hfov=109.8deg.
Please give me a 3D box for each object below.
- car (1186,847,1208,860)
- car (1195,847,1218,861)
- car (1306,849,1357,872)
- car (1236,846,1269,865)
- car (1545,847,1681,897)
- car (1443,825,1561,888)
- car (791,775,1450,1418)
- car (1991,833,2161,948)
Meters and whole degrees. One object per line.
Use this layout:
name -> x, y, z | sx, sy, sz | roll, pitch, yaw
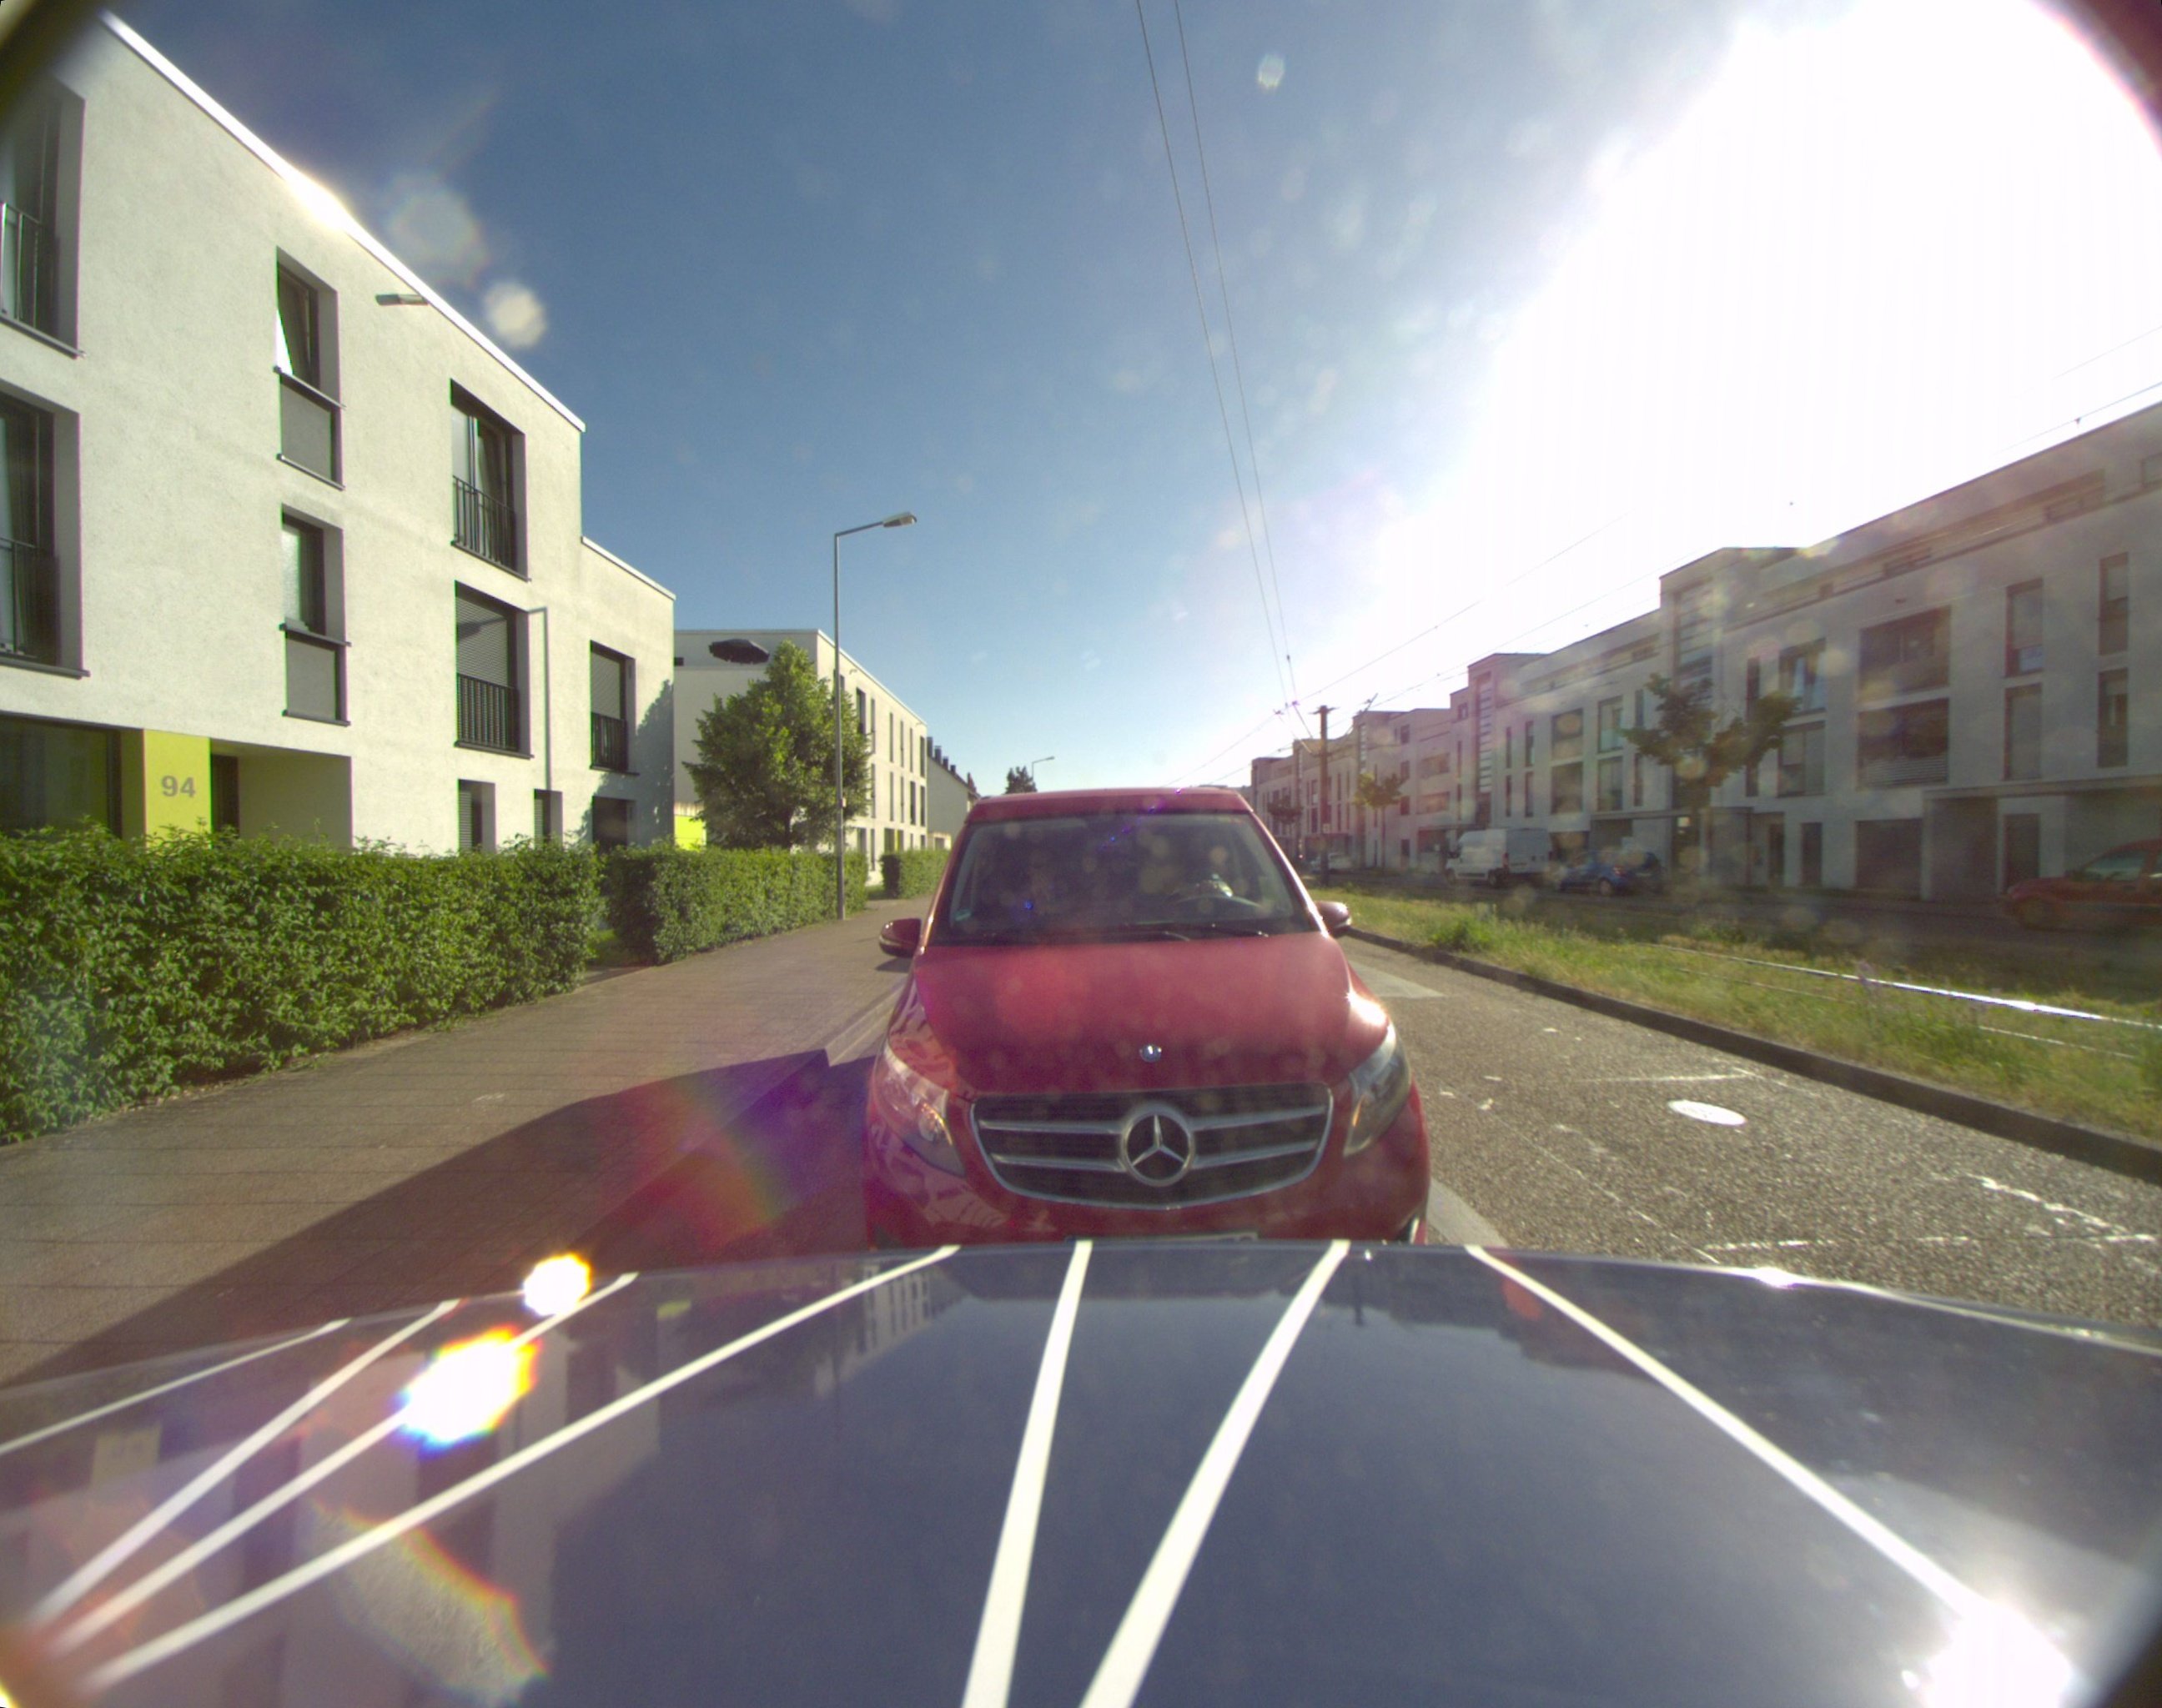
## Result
car -> 15.188, -0.066, 99.647 | 1.923, 1.671, 4.282 | -2, 1, -4
car -> 15.475, -0.044, 93.895 | 1.923, 1.671, 4.282 | -2, 1, -4
car -> 17.634, 0.412, 53.729 | 1.923, 1.497, 4.282 | -2, 1, -4
car -> 16.719, 0.128, 74.343 | 1.923, 1.671, 4.282 | -2, 1, -4
car -> 18.377, 0.575, 26.489 | 1.999, 1.536, 3.835 | -2, 1, 0
car -> 18.169, 0.073, 33.160 | 2.225, 2.458, 5.195 | -2, 1, 0
car -> 0.151, 0.701, 4.493 | 1.874, 1.843, 4.506 | -2, 1, 1
car -> 18.617, 0.579, 12.798 | 1.998, 1.817, 3.895 | -2, 1, 3
